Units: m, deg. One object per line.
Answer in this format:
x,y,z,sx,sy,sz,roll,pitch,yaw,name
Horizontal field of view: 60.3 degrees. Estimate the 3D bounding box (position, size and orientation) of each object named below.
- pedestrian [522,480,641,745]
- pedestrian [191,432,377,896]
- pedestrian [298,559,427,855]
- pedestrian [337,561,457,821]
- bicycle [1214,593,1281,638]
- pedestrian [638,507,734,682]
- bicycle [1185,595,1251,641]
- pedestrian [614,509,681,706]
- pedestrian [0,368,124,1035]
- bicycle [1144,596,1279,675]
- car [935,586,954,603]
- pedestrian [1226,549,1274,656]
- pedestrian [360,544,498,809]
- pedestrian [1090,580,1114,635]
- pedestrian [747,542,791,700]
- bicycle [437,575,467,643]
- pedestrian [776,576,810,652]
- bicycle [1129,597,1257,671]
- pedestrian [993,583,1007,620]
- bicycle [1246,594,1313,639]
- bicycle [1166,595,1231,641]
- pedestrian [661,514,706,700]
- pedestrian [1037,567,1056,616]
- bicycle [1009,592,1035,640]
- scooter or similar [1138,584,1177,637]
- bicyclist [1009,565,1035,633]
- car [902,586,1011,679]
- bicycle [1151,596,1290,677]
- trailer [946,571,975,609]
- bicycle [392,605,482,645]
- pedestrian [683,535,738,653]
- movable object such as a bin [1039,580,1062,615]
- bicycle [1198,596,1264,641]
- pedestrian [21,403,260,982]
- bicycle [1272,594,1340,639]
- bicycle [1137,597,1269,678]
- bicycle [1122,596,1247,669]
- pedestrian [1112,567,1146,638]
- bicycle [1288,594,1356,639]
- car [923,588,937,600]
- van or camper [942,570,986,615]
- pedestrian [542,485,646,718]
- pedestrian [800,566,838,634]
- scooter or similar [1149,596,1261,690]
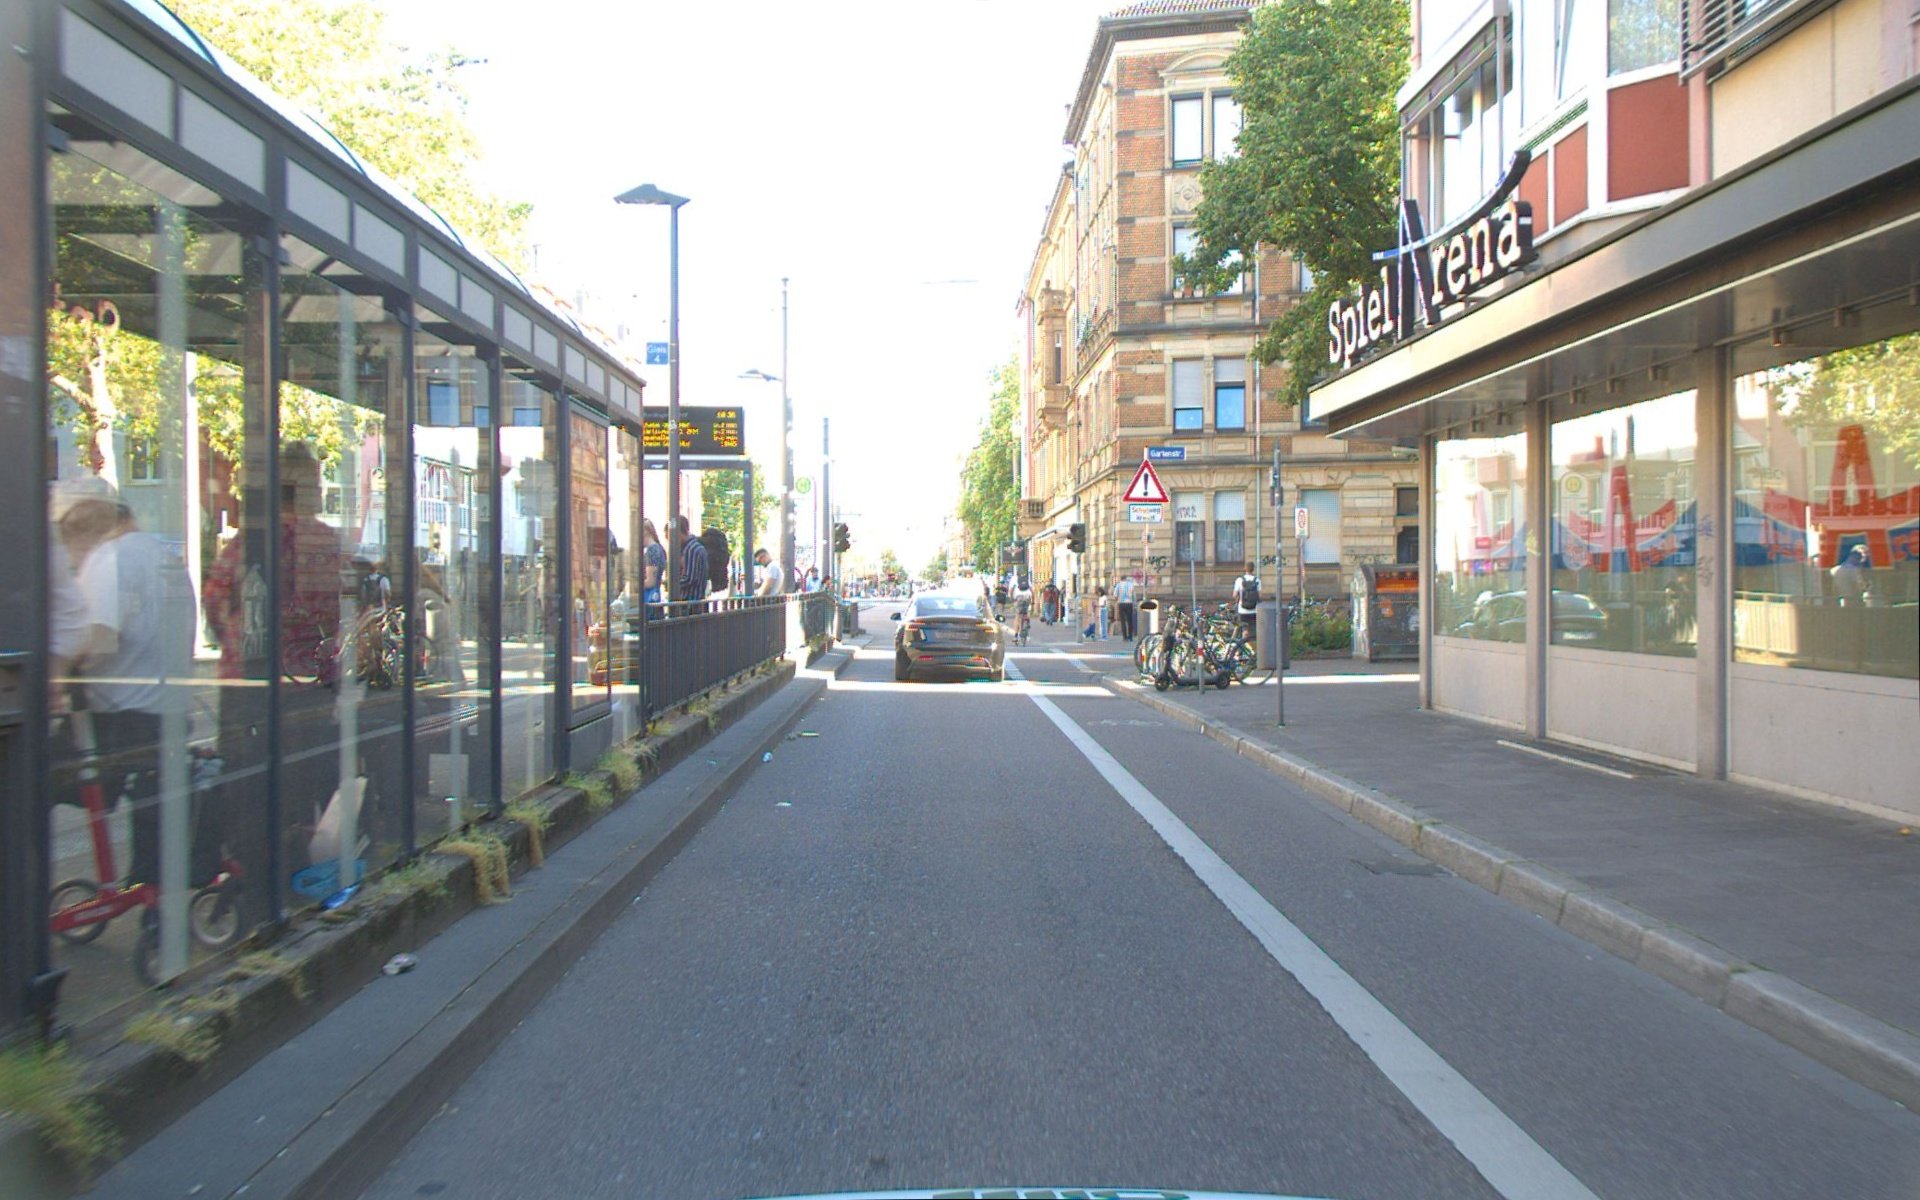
-2.637,0.079,11.576,0.676,1.796,0.747,0,0,-3,pedestrian
-2.450,0.222,6.001,0.538,1.599,0.317,1,0,-39,pedestrian
-2.458,0.426,6.826,0.358,1.172,0.460,1,0,-2,pedestrian
-2.622,0.414,7.727,0.400,1.172,0.460,1,0,-2,pedestrian
7.377,0.397,42.497,0.440,1.134,1.787,-1,1,-42,bicycle
-3.011,-0.053,18.156,0.762,1.863,0.795,1,0,-32,pedestrian
6.546,0.449,42.012,0.440,1.134,1.787,-1,1,-41,bicycle
-2.708,0.061,14.374,0.483,1.677,0.589,0,0,-3,pedestrian
-2.438,0.242,4.192,0.415,1.601,0.447,0,0,-1,pedestrian
3.737,0.526,24.604,1.907,1.126,0.564,-1,0,-3,bicycle
-1.448,-0.462,150.635,1.676,1.482,4.549,1,0,-2,car
5.601,0.058,31.942,0.701,2.019,0.942,1,-2,-3,pedestrian
-2.631,0.368,8.223,0.529,1.274,0.460,1,0,-3,pedestrian
3.811,0.191,44.355,0.562,1.439,0.581,1,0,9,pedestrian
-2.665,0.282,23.095,0.527,2.157,0.807,0,0,-2,pedestrian
-13.161,0.216,42.848,0.577,1.746,0.639,-1,0,-36,bicycle
-2.968,0.248,29.452,0.470,1.352,0.354,-1,1,28,pedestrian
3.656,0.525,26.017,1.907,1.126,0.564,-1,0,-3,bicycle
2.011,0.077,83.688,0.659,1.846,0.755,0,0,-2,pedestrian
8.160,0.405,42.356,0.440,1.134,1.787,-1,1,-42,bicycle
6.026,0.439,41.875,0.440,1.134,1.787,-1,1,-41,bicycle
-2.561,0.059,15.335,0.344,1.698,0.529,0,0,-3,pedestrian
3.182,-0.316,60.789,0.461,1.758,0.586,0,1,34,pedestrian
1.577,0.392,41.642,0.634,1.159,2.096,0,0,3,bicycle
4.948,0.255,41.531,0.384,1.311,1.515,-1,1,-17,scooter or similar
1.563,-0.020,41.670,0.641,1.684,0.928,0,0,3,bicyclist
-0.117,0.503,27.962,1.685,1.430,3.708,1,1,-2,car
3.765,0.525,23.991,1.907,1.126,0.564,-1,0,-3,bicycle
0.034,-0.559,97.029,1.627,2.154,3.842,1,0,0,trailer
-13.441,0.629,42.581,2.153,0.983,0.637,-1,1,-44,bicycle
-3.763,-0.091,24.980,0.747,1.765,0.589,0,0,-2,pedestrian
3.629,-0.102,66.390,0.760,1.371,1.298,0,0,-3,movable object such as a bin
6.927,0.455,42.281,0.440,1.134,1.787,-1,1,-42,bicycle
-2.395,0.254,4.875,0.415,1.601,0.592,0,0,-1,pedestrian
8.866,0.407,42.434,0.440,1.134,1.787,-1,1,-42,bicycle
3.704,0.566,25.258,1.907,1.186,0.627,-1,0,-3,bicycle
3.610,0.523,26.663,1.907,1.126,0.564,-1,0,-3,bicycle
4.459,0.049,43.663,0.829,1.839,0.876,-1,1,3,pedestrian
9.335,0.416,42.680,0.440,1.134,1.787,-1,1,-42,bicycle
-3.643,-0.715,200.995,1.561,1.458,3.686,-1,0,0,car
0.169,-0.325,79.621,1.892,2.072,5.473,1,0,-2,van or camper
-2.875,0.004,13.052,0.676,1.782,0.747,0,0,-3,pedestrian
-3.878,-0.007,45.498,0.582,1.853,0.940,1,0,31,pedestrian
3.445,0.599,23.326,1.448,1.250,0.591,-2,0,-1,scooter or similar
